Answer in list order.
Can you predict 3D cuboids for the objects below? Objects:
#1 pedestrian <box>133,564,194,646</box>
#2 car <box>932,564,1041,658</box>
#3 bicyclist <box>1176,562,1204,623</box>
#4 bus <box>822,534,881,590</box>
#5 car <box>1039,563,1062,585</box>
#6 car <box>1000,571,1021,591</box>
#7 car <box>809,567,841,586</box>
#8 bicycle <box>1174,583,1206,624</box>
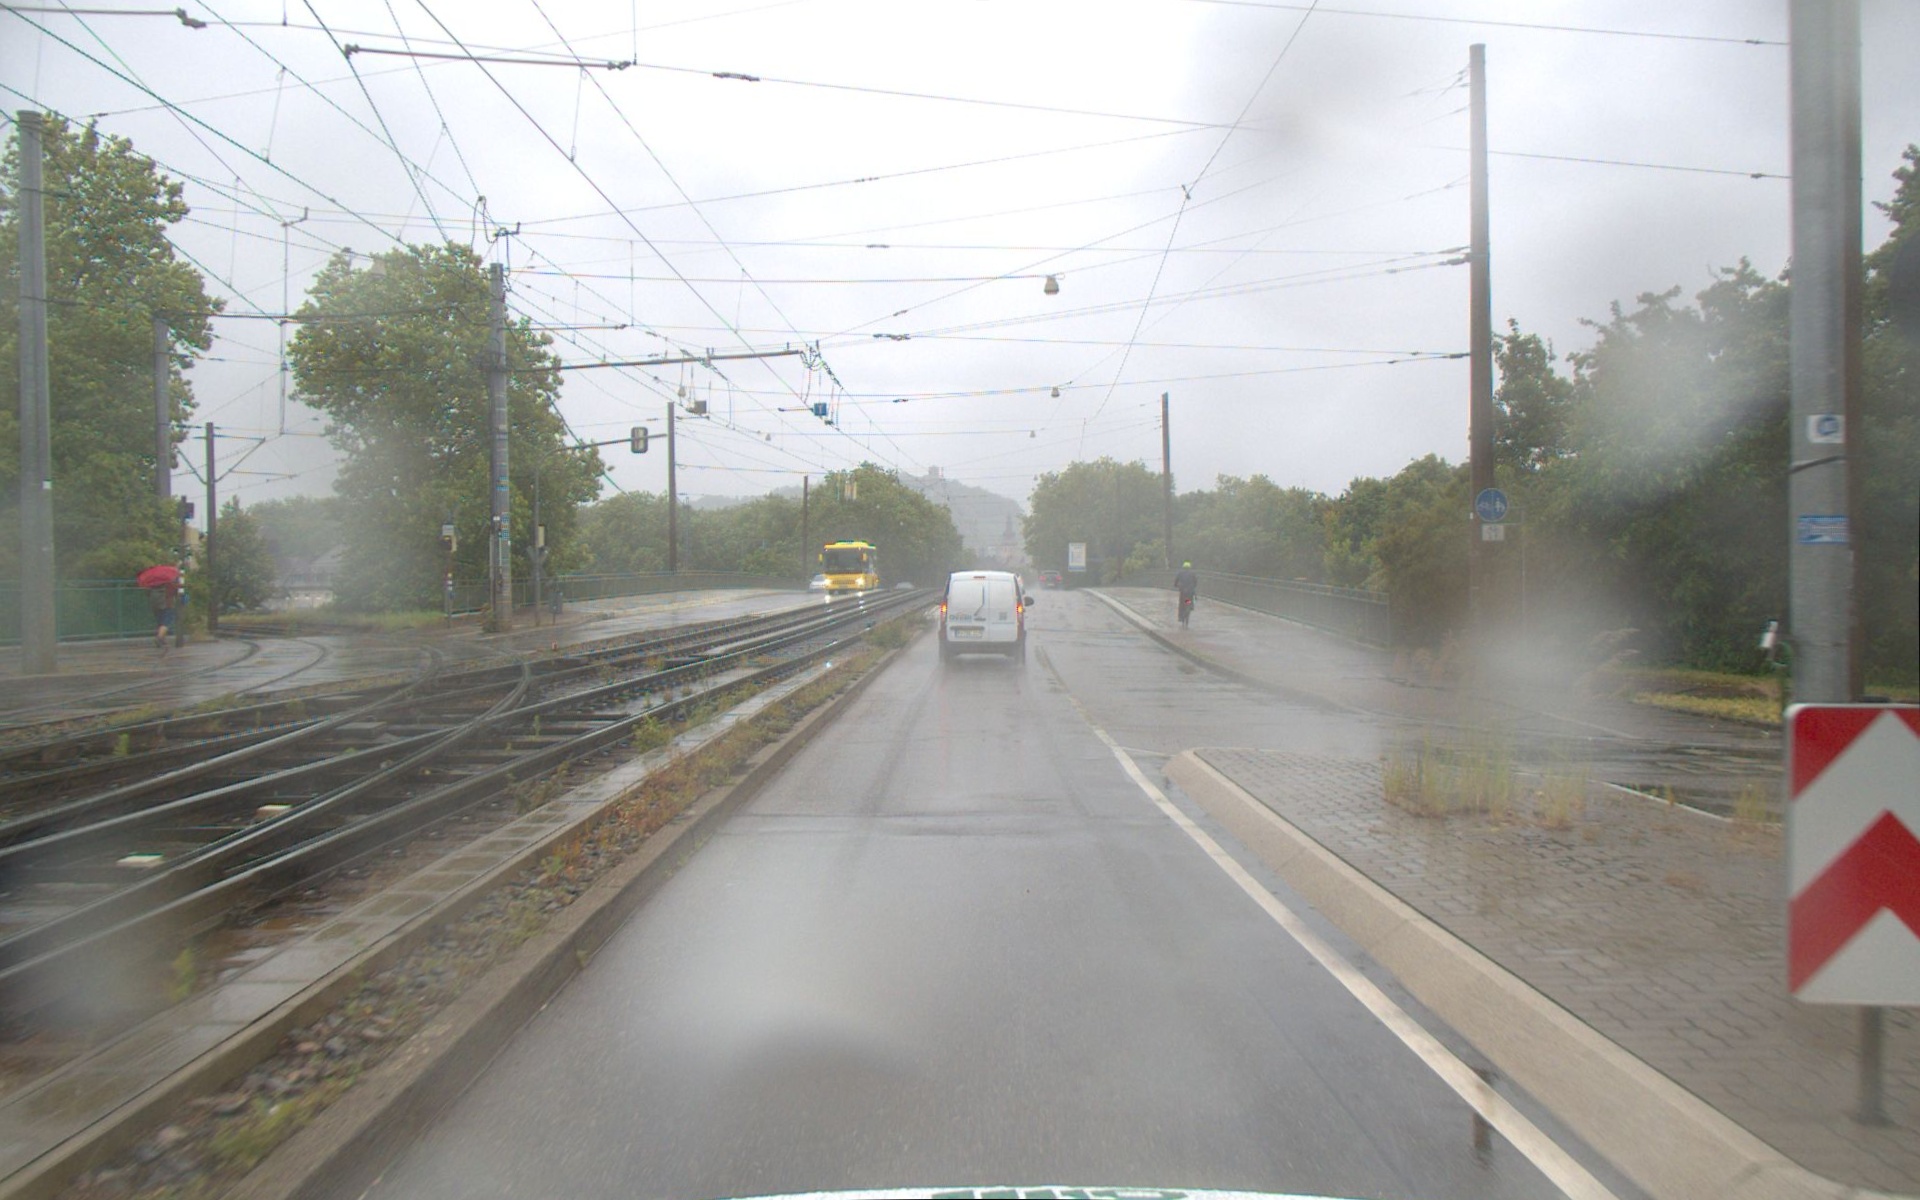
[{"bbox_3d":[-18.193,0.112,37.815,0.846,1.850,1.043,1,0,0],"label":"pedestrian"},{"bbox_3d":[0.600,0.201,33.562,1.951,1.756,4.002,1,0,4],"label":"car"},{"bbox_3d":[6.792,-0.215,48.966,0.710,1.794,0.949,1,0,2],"label":"bicyclist"},{"bbox_3d":[-7.188,-2.640,110.852,2.652,3.398,10.999,-2,2,2],"label":"bus"},{"bbox_3d":[6.536,-1.852,119.314,1.421,1.525,2.981,1,0,-2],"label":"car"},{"bbox_3d":[3.906,-1.465,127.455,1.421,1.525,2.981,1,0,-2],"label":"car"},{"bbox_3d":[-10.107,-1.780,124.199,1.894,1.252,4.102,-2,2,2],"label":"car"},{"bbox_3d":[6.792,0.096,48.947,0.708,1.148,2.169,1,1,3],"label":"bicycle"}]
